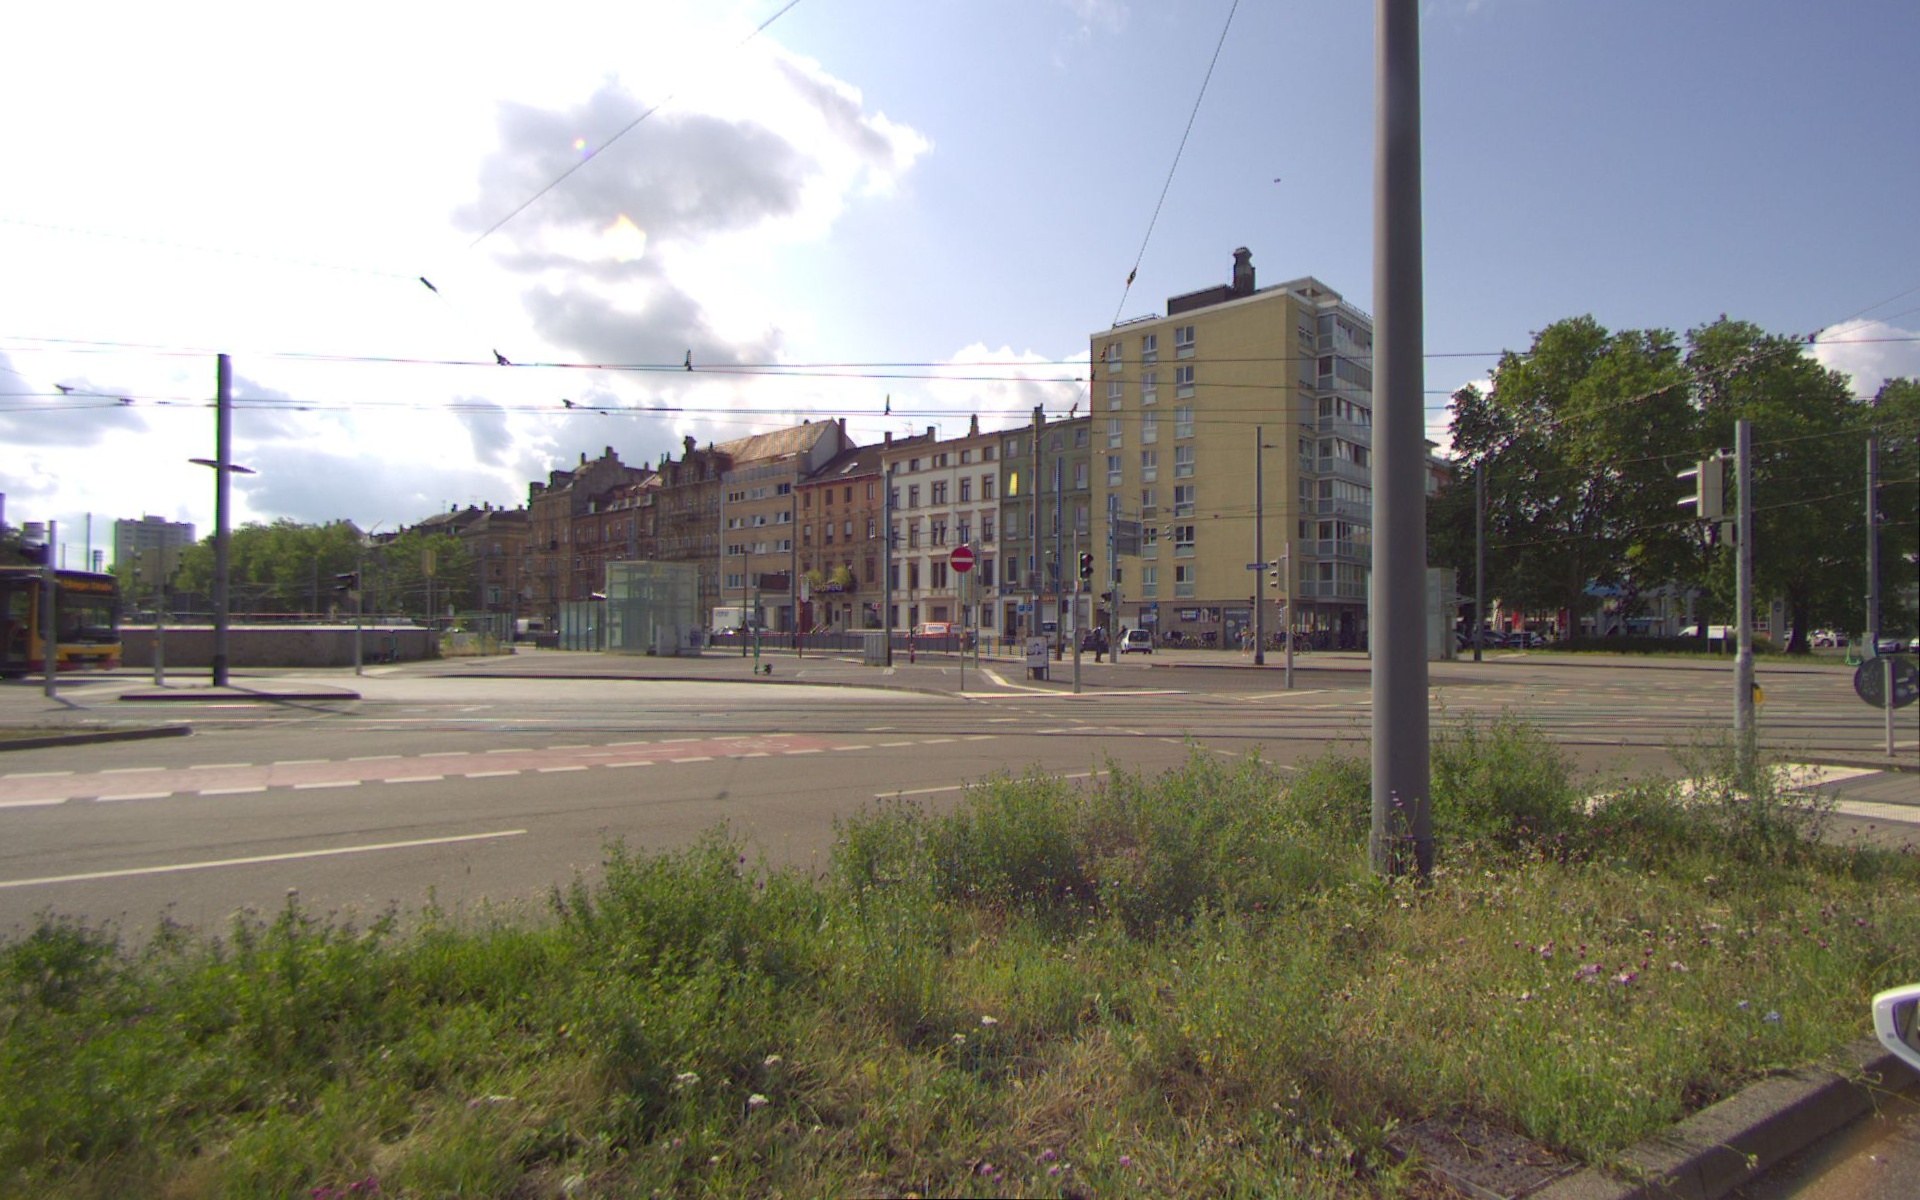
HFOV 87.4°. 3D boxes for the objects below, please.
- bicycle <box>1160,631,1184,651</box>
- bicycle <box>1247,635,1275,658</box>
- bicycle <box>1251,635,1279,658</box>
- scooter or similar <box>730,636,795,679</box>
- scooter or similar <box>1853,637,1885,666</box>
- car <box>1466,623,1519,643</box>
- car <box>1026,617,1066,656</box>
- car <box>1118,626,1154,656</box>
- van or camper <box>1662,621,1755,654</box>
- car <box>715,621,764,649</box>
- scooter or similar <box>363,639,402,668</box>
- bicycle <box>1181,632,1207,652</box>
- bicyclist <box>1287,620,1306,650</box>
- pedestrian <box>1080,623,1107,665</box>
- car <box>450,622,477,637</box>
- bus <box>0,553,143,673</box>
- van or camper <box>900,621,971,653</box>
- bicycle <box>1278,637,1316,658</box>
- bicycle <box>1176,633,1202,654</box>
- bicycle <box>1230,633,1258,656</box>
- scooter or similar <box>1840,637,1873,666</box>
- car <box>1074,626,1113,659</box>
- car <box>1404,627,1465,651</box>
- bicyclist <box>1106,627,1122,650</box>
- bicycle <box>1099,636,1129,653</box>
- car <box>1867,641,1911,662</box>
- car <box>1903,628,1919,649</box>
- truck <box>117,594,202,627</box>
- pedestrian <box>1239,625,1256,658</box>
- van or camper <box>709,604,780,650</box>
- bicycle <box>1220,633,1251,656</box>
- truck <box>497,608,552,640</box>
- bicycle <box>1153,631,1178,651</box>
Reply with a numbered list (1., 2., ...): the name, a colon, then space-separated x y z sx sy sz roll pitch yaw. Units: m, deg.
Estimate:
1. bicycle: 14.605 2.802 69.213 0.484 1.218 1.623 1 3 -44
2. bicycle: 19.205 2.982 64.120 0.528 1.289 1.623 1 3 -44
3. bicycle: 19.574 2.994 64.510 0.484 1.289 1.623 1 3 -44
4. scooter or similar: -6.018 1.737 30.600 1.330 1.205 1.475 2 0 -44
5. scooter or similar: 39.457 2.251 43.602 0.911 1.173 0.381 3 4 5
6. car: 44.035 2.754 83.131 1.654 1.615 3.574 1 -2 -43
7. car: 5.611 2.392 66.315 2.039 2.113 4.897 3 2 -1
8. car: 10.710 2.472 61.280 1.685 1.460 3.512 4 2 3
9. van or camper: 63.235 3.156 84.995 2.361 2.502 5.858 2 0 -25
10. car: -17.854 2.802 81.201 3.945 2.040 1.988 2 0 44
11. scooter or similar: -20.663 1.904 35.956 0.464 0.962 1.663 0 -1 -1
12. bicycle: 15.847 2.833 67.950 0.484 1.218 1.623 1 3 -44
13. bicyclist: 19.686 2.042 58.739 0.816 1.768 0.708 -1 -2 42
14. pedestrian: 5.798 1.883 43.625 0.783 1.696 0.840 6 6 42
15. car: -57.851 3.423 117.008 1.764 1.684 3.947 2 -1 -44
16. bus: -25.322 0.328 25.344 6.964 2.871 2.699 0 -1 -4
17. van or camper: -1.645 2.434 66.582 4.454 1.940 2.006 1 0 40
18. bicycle: 19.702 2.768 58.731 1.963 1.142 0.785 -1 -2 42
19. bicycle: 15.410 2.902 67.601 0.545 1.218 1.623 1 3 -44
20. bicycle: 18.489 2.901 65.451 0.484 1.289 1.623 1 3 -44
21. scooter or similar: 39.444 2.253 44.196 0.911 1.173 0.381 4 4 16
22. car: 8.327 2.629 63.075 1.853 1.488 5.063 3 4 2
23. car: 34.164 2.801 72.294 3.524 1.550 1.989 2 0 43
24. bicyclist: 10.509 2.635 68.650 0.821 1.517 0.785 -1 -2 41
25. bicycle: 10.517 3.010 68.618 1.963 1.142 0.785 -1 -2 42
26. car: 74.139 4.081 80.121 3.965 1.595 1.978 2 0 -38
27. car: 75.144 2.967 77.945 3.959 1.625 2.055 1 -2 -34
28. truck: -93.221 1.327 117.119 2.432 3.696 7.420 -1 -2 38
29. pedestrian: 15.823 2.283 55.325 0.770 1.783 0.995 2 -1 19
30. van or camper: -19.999 2.441 92.829 2.703 3.376 7.536 -1 6 -45
31. bicycle: 17.891 2.882 65.265 1.859 1.289 0.486 6 5 36
32. truck: -48.700 2.649 112.294 7.197 3.330 3.160 1 1 45
33. bicycle: 14.098 2.785 68.971 0.484 1.218 1.623 1 3 -44
